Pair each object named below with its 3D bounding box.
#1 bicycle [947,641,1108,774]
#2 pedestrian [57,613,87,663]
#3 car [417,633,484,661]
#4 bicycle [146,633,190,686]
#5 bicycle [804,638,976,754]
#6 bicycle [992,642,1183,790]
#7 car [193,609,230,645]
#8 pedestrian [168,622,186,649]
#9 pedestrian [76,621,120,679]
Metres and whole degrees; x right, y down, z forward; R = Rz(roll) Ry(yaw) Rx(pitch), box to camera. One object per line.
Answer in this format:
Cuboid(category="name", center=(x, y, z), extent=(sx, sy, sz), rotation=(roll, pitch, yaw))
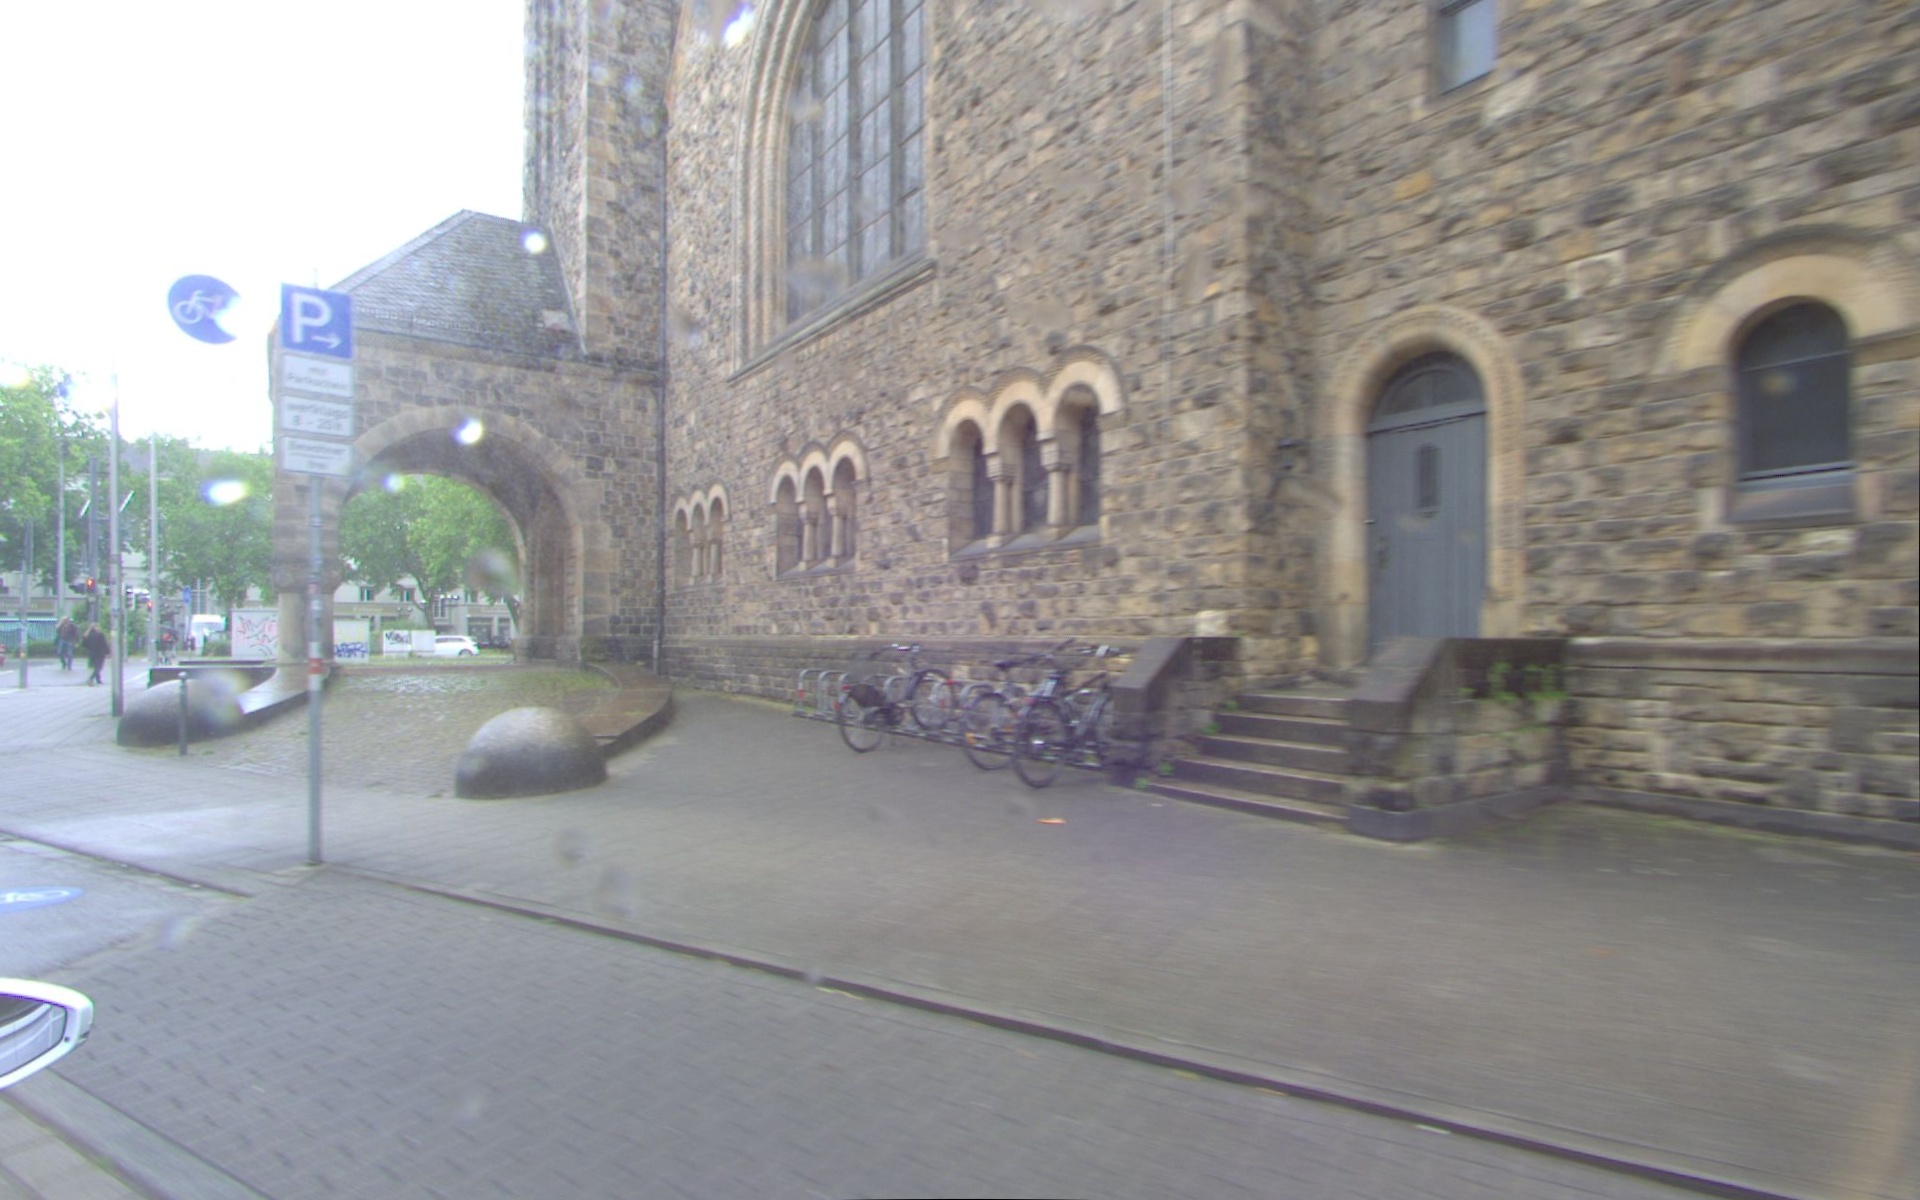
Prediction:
Cuboid(category="bicycle", center=(0.687, 0.992, 9.753), extent=(1.697, 1.126, 0.556), rotation=(-1, 0, -44))
Cuboid(category="pedestrian", center=(-31.844, 1.360, 35.915), extent=(0.780, 1.782, 0.936), rotation=(0, -1, -43))
Cuboid(category="car", center=(-29.663, 2.738, 58.308), extent=(3.401, 1.572, 1.584), rotation=(1, -1, -32))
Cuboid(category="bicycle", center=(-18.570, 1.374, 23.459), extent=(2.049, 1.169, 0.327), rotation=(-1, -1, 38))
Cuboid(category="bicycle", center=(-0.740, 1.021, 11.239), extent=(0.684, 1.119, 1.973), rotation=(-1, 0, 43))
Cuboid(category="bicycle", center=(1.150, 0.933, 8.632), extent=(1.971, 1.068, 0.507), rotation=(-1, 0, -44))
Cuboid(category="car", center=(-55.407, 2.012, 74.149), extent=(1.888, 2.588, 4.757), rotation=(1, -2, -34))
Cuboid(category="pedestrian", center=(-44.641, 2.029, 57.082), extent=(0.666, 1.573, 0.758), rotation=(1, -3, -30))
Cuboid(category="pedestrian", center=(-25.118, 1.433, 29.197), extent=(0.771, 1.667, 0.654), rotation=(0, 0, -16))
